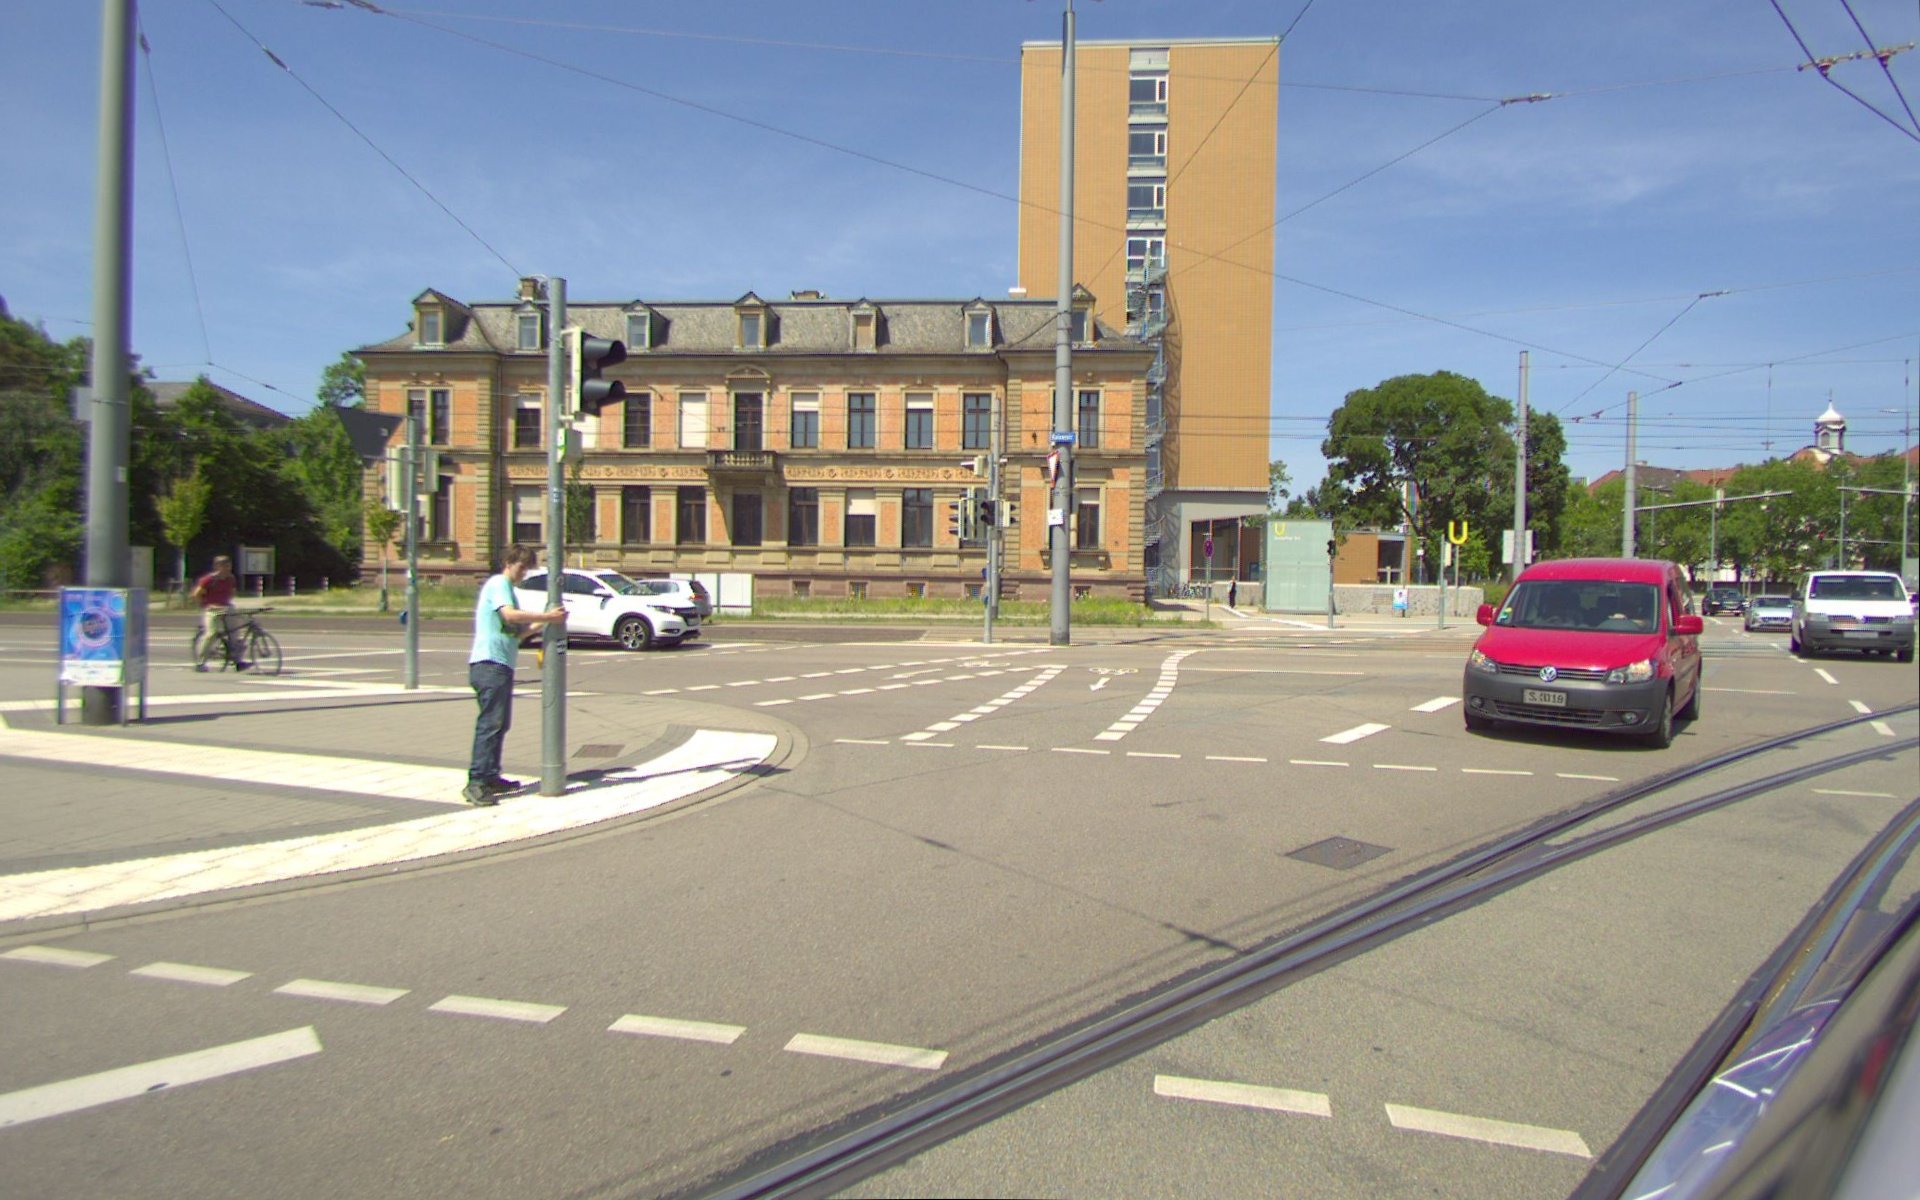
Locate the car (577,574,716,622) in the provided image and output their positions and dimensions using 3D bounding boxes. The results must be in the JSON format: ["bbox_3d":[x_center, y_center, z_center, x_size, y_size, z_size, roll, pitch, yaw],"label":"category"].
[{"bbox_3d":[-9.938,-0.088,32.234,3.932,1.438,1.614,1,1,7],"label":"car"}]

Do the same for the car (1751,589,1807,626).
[{"bbox_3d":[32.913,0.263,40.726,1.563,1.371,3.414,1,2,36],"label":"car"}]

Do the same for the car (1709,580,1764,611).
[{"bbox_3d":[46.003,-0.325,60.025,1.983,1.746,3.958,1,2,30],"label":"car"}]

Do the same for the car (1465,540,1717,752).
[{"bbox_3d":[6.903,0.342,10.876,1.749,1.835,4.038,1,2,40],"label":"car"}]

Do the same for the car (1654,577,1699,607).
[{"bbox_3d":[46.896,-0.548,66.344,1.983,1.864,3.958,1,1,30],"label":"car"}]

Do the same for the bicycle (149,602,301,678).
[{"bbox_3d":[-10.842,0.565,14.943,1.990,1.018,0.723,1,1,15],"label":"bicycle"}]

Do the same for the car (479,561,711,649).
[{"bbox_3d":[-7.281,0.057,20.307,4.110,1.625,1.703,1,1,11],"label":"car"}]

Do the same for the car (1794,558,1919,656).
[{"bbox_3d":[20.059,0.090,22.586,1.863,1.990,3.777,1,2,34],"label":"car"}]

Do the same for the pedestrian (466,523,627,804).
[{"bbox_3d":[-2.803,0.397,6.948,0.856,1.801,0.811,0,1,-9],"label":"pedestrian"}]
